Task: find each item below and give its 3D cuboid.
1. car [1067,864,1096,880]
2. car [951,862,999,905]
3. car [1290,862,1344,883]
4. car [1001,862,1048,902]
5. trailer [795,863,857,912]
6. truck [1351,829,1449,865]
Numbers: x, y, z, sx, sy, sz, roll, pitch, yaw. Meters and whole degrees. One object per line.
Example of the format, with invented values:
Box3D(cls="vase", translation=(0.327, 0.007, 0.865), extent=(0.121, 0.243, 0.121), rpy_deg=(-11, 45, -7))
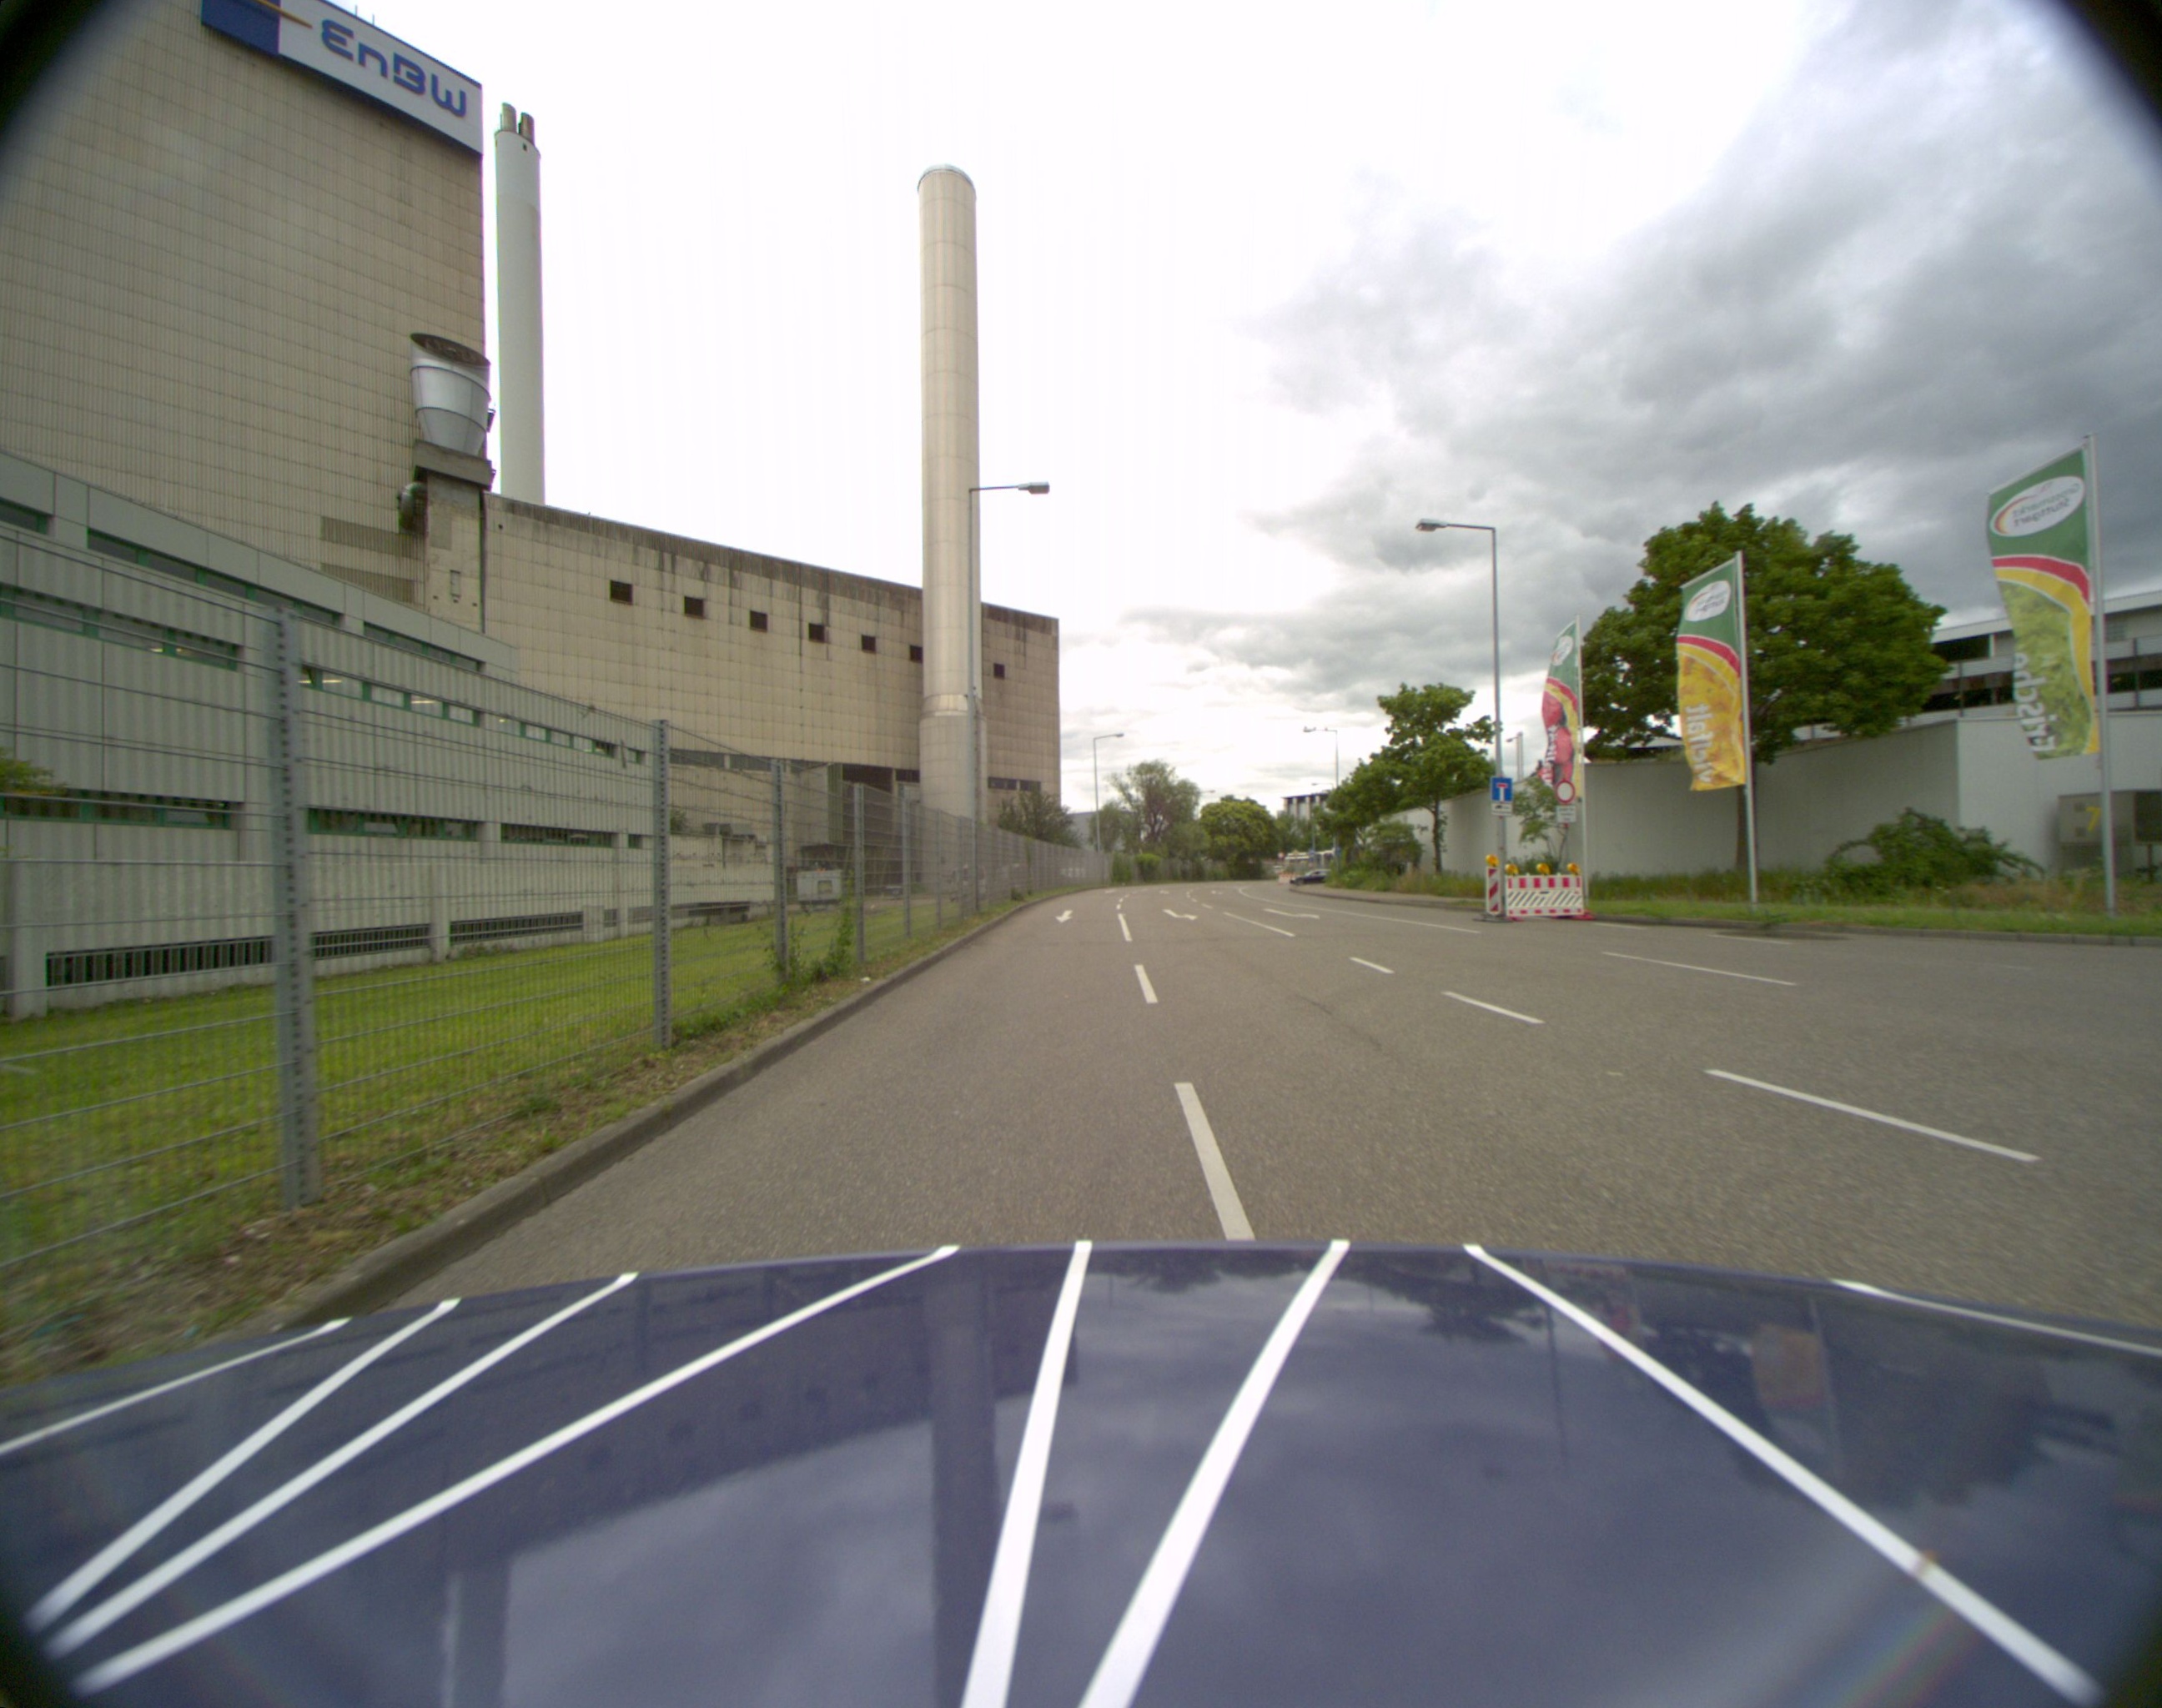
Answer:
Box3D(cls="car", translation=(0.150, 2.927, 122.683), extent=(1.995, 2.353, 5.851), rpy_deg=(-3, -1, 30))
Box3D(cls="car", translation=(-7.319, 2.069, 51.880), extent=(2.429, 2.744, 5.450), rpy_deg=(-2, -3, -16))
Box3D(cls="car", translation=(21.891, 1.696, 70.679), extent=(4.614, 1.799, 2.002), rpy_deg=(-2, -1, 13))
Box3D(cls="car", translation=(-4.057, 2.028, 53.511), extent=(2.240, 2.531, 5.187), rpy_deg=(-2, -3, -16))
Box3D(cls="trailer", translation=(-14.610, 1.910, 43.919), extent=(2.665, 2.528, 6.428), rpy_deg=(-2, -1, -12))
Box3D(cls="truck", translation=(33.714, -0.704, 80.682), extent=(9.261, 3.574, 2.935), rpy_deg=(-1, 0, 14))
